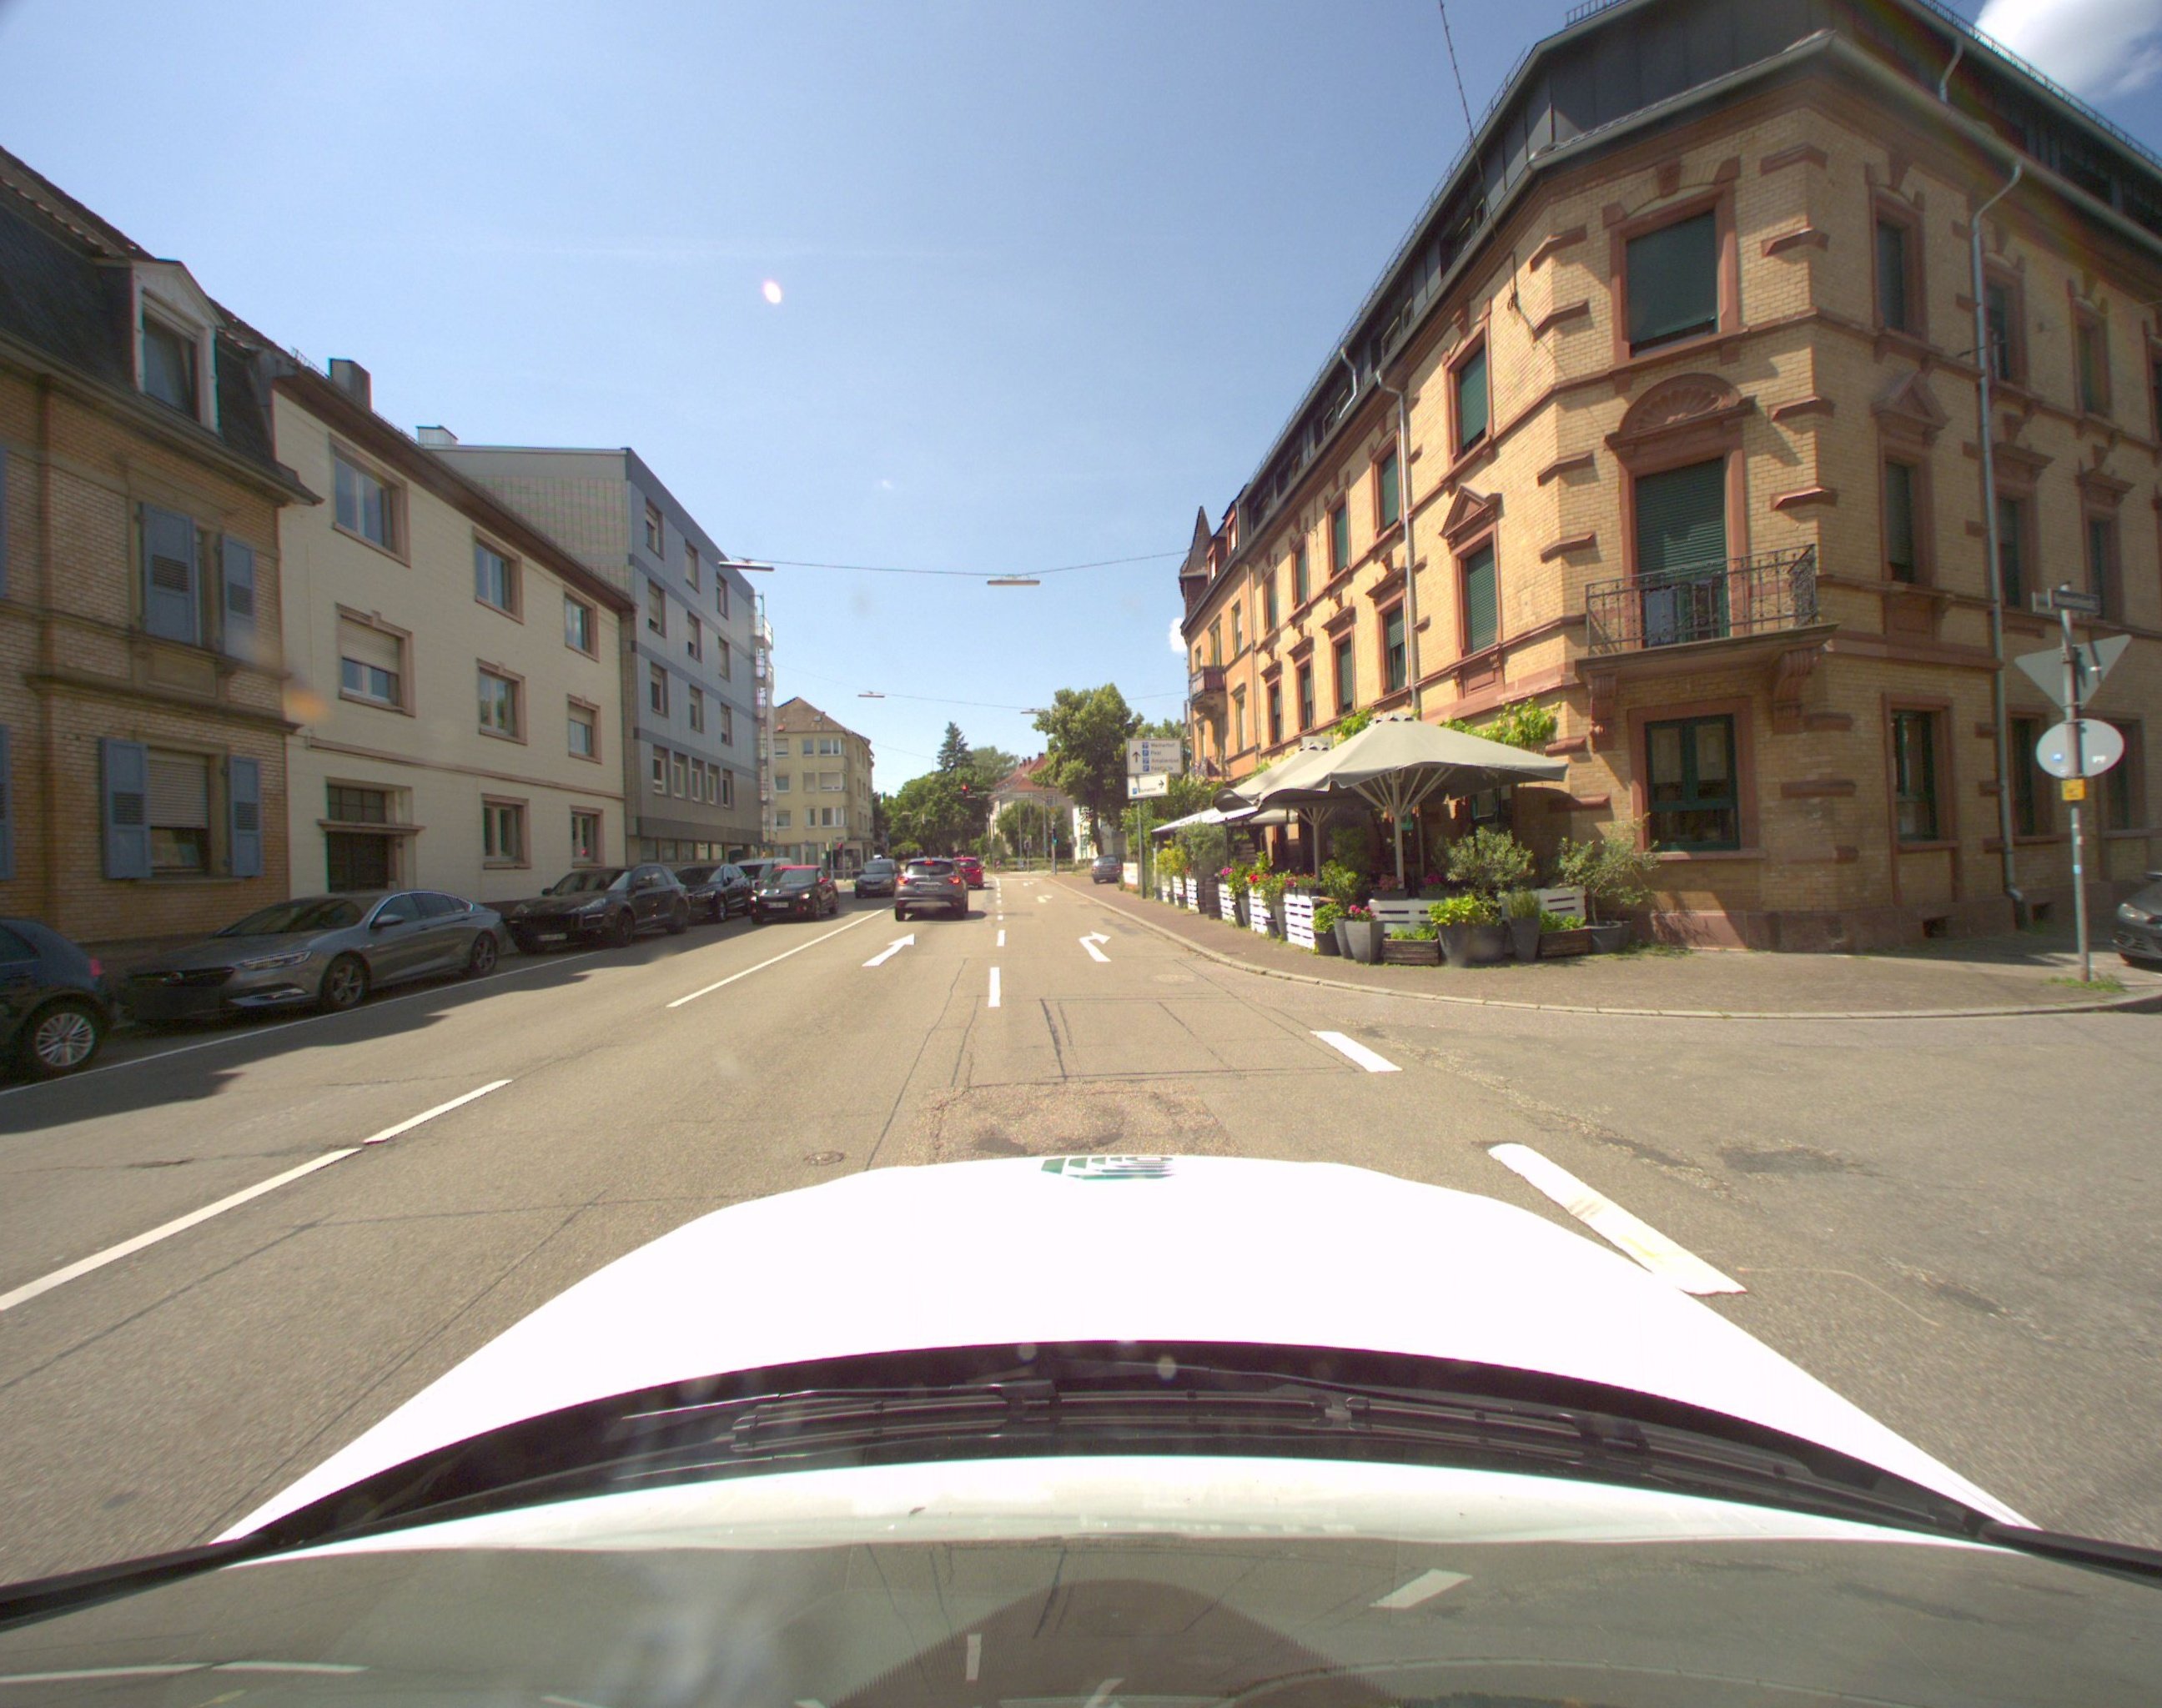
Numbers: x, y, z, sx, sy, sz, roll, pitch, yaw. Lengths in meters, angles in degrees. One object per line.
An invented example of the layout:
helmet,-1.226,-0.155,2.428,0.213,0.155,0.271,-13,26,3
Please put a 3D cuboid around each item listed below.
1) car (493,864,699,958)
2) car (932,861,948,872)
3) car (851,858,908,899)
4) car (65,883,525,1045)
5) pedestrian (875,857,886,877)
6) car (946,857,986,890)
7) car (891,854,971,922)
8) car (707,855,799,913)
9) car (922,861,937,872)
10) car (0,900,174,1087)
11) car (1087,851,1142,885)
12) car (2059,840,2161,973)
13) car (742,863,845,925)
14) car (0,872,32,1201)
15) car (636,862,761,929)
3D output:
car,-10.233,1.097,17.699,1.882,1.641,4.808,-3,-1,-5
car,-22.920,2.036,132.352,1.999,1.807,3.975,-1,0,-19
car,-8.655,1.032,35.317,1.699,1.575,4.303,-3,0,-6
car,-9.782,1.212,10.871,1.864,1.406,4.822,-6,0,-9
pedestrian,-19.377,1.274,78.541,0.938,1.931,0.971,-1,-1,-18
car,-5.766,0.975,41.138,1.796,1.558,4.029,-1,-1,-6
car,-3.961,0.842,22.081,1.751,1.632,3.992,-1,0,-5
car,-11.904,1.055,29.903,1.912,1.825,4.775,-3,-1,-8
car,-27.018,2.293,145.106,1.999,1.906,3.975,-1,0,-19
car,-9.259,1.184,5.452,1.865,1.406,4.316,-6,0,-9
car,1.868,0.710,43.741,1.821,1.548,5.176,-3,1,14
car,13.291,0.503,8.915,3.997,1.365,1.905,-2,0,-17
car,-7.930,1.042,22.835,1.699,1.478,4.125,-3,0,-6
car,-5.580,0.847,1.611,1.758,1.494,4.235,-3,0,-7
car,-10.997,1.128,23.792,1.883,1.641,4.650,-3,-1,-8
